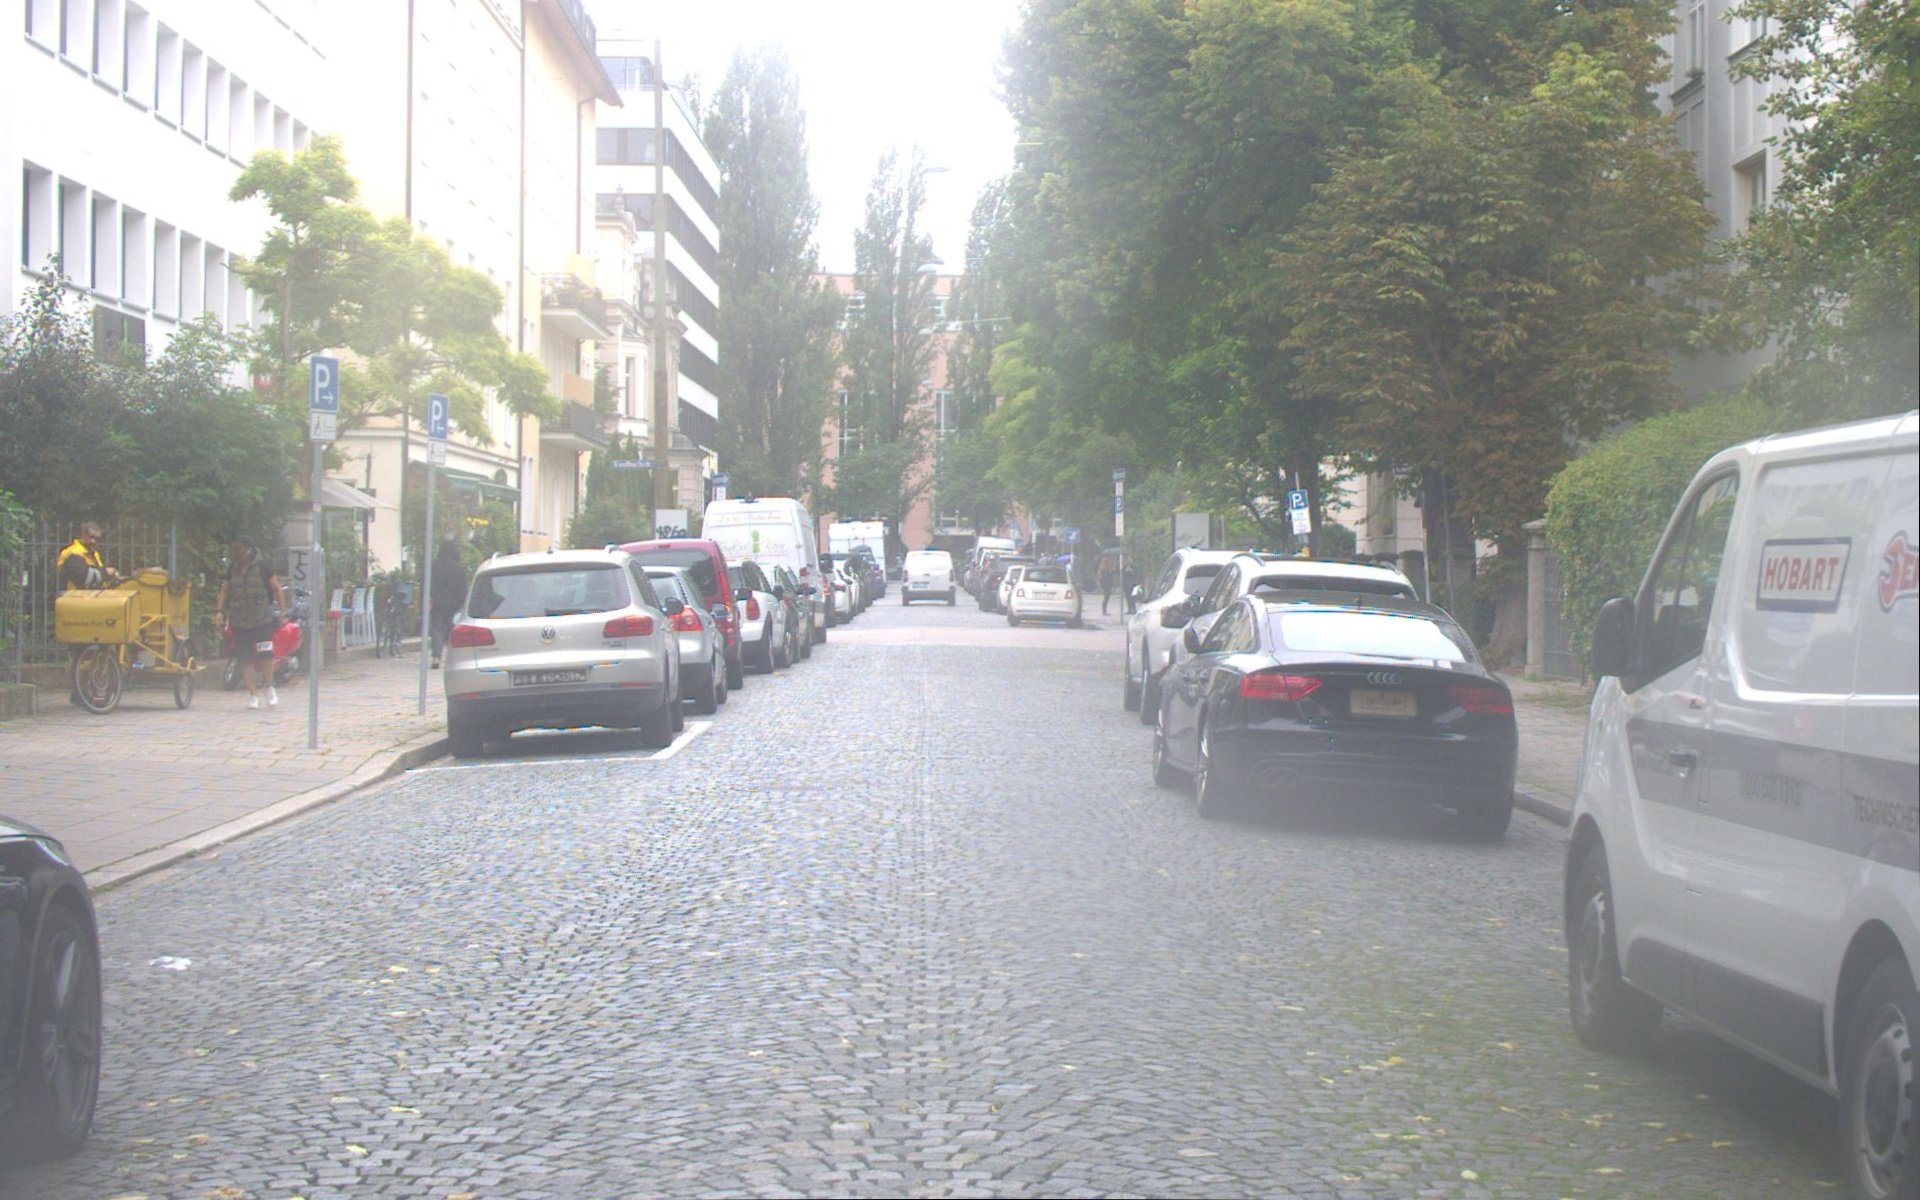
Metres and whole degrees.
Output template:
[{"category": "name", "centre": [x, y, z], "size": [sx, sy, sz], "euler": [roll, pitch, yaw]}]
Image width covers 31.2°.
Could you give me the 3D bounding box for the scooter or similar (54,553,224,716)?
[{"category": "scooter or similar", "centre": [-7.563, 0.288, 31.805], "size": [0.941, 1.437, 2.657], "euler": [1, 1, 0]}]

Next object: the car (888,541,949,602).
[{"category": "car", "centre": [-1.386, -0.971, 116.811], "size": [1.993, 2.007, 4.000], "euler": [1, 1, 0]}]

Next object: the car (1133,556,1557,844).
[{"category": "car", "centre": [2.265, 0.529, 21.428], "size": [1.873, 1.498, 4.512], "euler": [3, 1, -3]}]

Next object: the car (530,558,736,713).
[{"category": "car", "centre": [-3.303, 0.318, 35.406], "size": [1.873, 1.446, 4.208], "euler": [-1, 1, -2]}]

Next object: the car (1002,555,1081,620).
[{"category": "car", "centre": [1.943, -0.315, 83.045], "size": [1.790, 1.515, 4.000], "euler": [1, 1, 0]}]

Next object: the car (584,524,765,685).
[{"category": "car", "centre": [-3.425, 0.019, 41.922], "size": [1.873, 1.770, 4.123], "euler": [-3, 1, -1]}]

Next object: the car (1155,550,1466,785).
[{"category": "car", "centre": [2.634, 0.457, 26.757], "size": [1.817, 1.574, 4.208], "euler": [4, 1, -1]}]

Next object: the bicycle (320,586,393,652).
[{"category": "bicycle", "centre": [-8.076, 0.244, 46.079], "size": [0.502, 0.836, 2.089], "euler": [1, 1, 3]}]

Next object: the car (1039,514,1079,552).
[{"category": "car", "centre": [5.345, -3.602, 185.908], "size": [1.993, 2.007, 4.000], "euler": [1, 0, 0]}]

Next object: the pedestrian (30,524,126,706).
[{"category": "pedestrian", "centre": [-8.294, 0.136, 32.338], "size": [0.717, 1.682, 0.695], "euler": [1, 1, -1]}]

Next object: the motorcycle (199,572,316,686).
[{"category": "motorcycle", "centre": [-7.608, 0.297, 37.294], "size": [0.623, 1.192, 1.864], "euler": [1, 1, 9]}]

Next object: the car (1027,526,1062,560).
[{"category": "car", "centre": [5.164, -3.470, 210.464], "size": [1.993, 2.007, 4.000], "euler": [1, 0, 0]}]

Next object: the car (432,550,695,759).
[{"category": "car", "centre": [-3.299, 0.401, 29.353], "size": [1.873, 1.574, 4.256], "euler": [-2, 1, -2]}]

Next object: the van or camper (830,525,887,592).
[{"category": "van or camper", "centre": [-4.299, -1.779, 146.581], "size": [2.256, 2.733, 5.098], "euler": [1, 1, 0]}]

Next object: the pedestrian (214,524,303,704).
[{"category": "pedestrian", "centre": [-6.664, 0.128, 32.663], "size": [0.693, 1.682, 0.720], "euler": [1, 1, -1]}]

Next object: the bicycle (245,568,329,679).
[{"category": "bicycle", "centre": [-7.735, 0.257, 39.459], "size": [0.655, 1.217, 2.090], "euler": [0, 1, -19]}]

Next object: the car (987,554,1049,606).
[{"category": "car", "centre": [1.730, -0.616, 103.739], "size": [1.790, 1.515, 4.000], "euler": [1, 1, 0]}]

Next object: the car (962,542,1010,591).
[{"category": "car", "centre": [1.095, -1.441, 146.957], "size": [1.993, 2.007, 4.000], "euler": [1, 1, 0]}]

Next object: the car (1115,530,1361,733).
[{"category": "car", "centre": [2.608, 0.256, 33.301], "size": [1.873, 1.727, 4.593], "euler": [3, 1, -1]}]

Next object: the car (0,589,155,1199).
[{"category": "car", "centre": [-3.132, 0.758, 6.940], "size": [1.887, 1.412, 4.407], "euler": [-3, 1, 0]}]

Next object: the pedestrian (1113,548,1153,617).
[{"category": "pedestrian", "centre": [5.065, -0.522, 100.471], "size": [0.856, 2.007, 0.991], "euler": [0, 1, -17]}]

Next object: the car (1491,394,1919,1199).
[{"category": "car", "centre": [2.919, 0.534, 9.244], "size": [1.873, 1.922, 5.165], "euler": [3, 1, -3]}]

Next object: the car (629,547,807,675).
[{"category": "car", "centre": [-3.260, 0.122, 47.046], "size": [1.873, 1.574, 4.208], "euler": [3, 1, 3]}]

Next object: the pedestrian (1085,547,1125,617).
[{"category": "pedestrian", "centre": [4.216, -0.532, 100.033], "size": [0.856, 2.007, 0.991], "euler": [0, 1, -17]}]

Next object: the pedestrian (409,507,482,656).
[{"category": "pedestrian", "centre": [-6.707, -0.243, 44.815], "size": [0.792, 1.911, 0.759], "euler": [2, 1, -1]}]

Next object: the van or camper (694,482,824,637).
[{"category": "van or camper", "centre": [-3.589, -0.734, 61.986], "size": [1.993, 2.643, 4.000], "euler": [-2, 1, 0]}]
